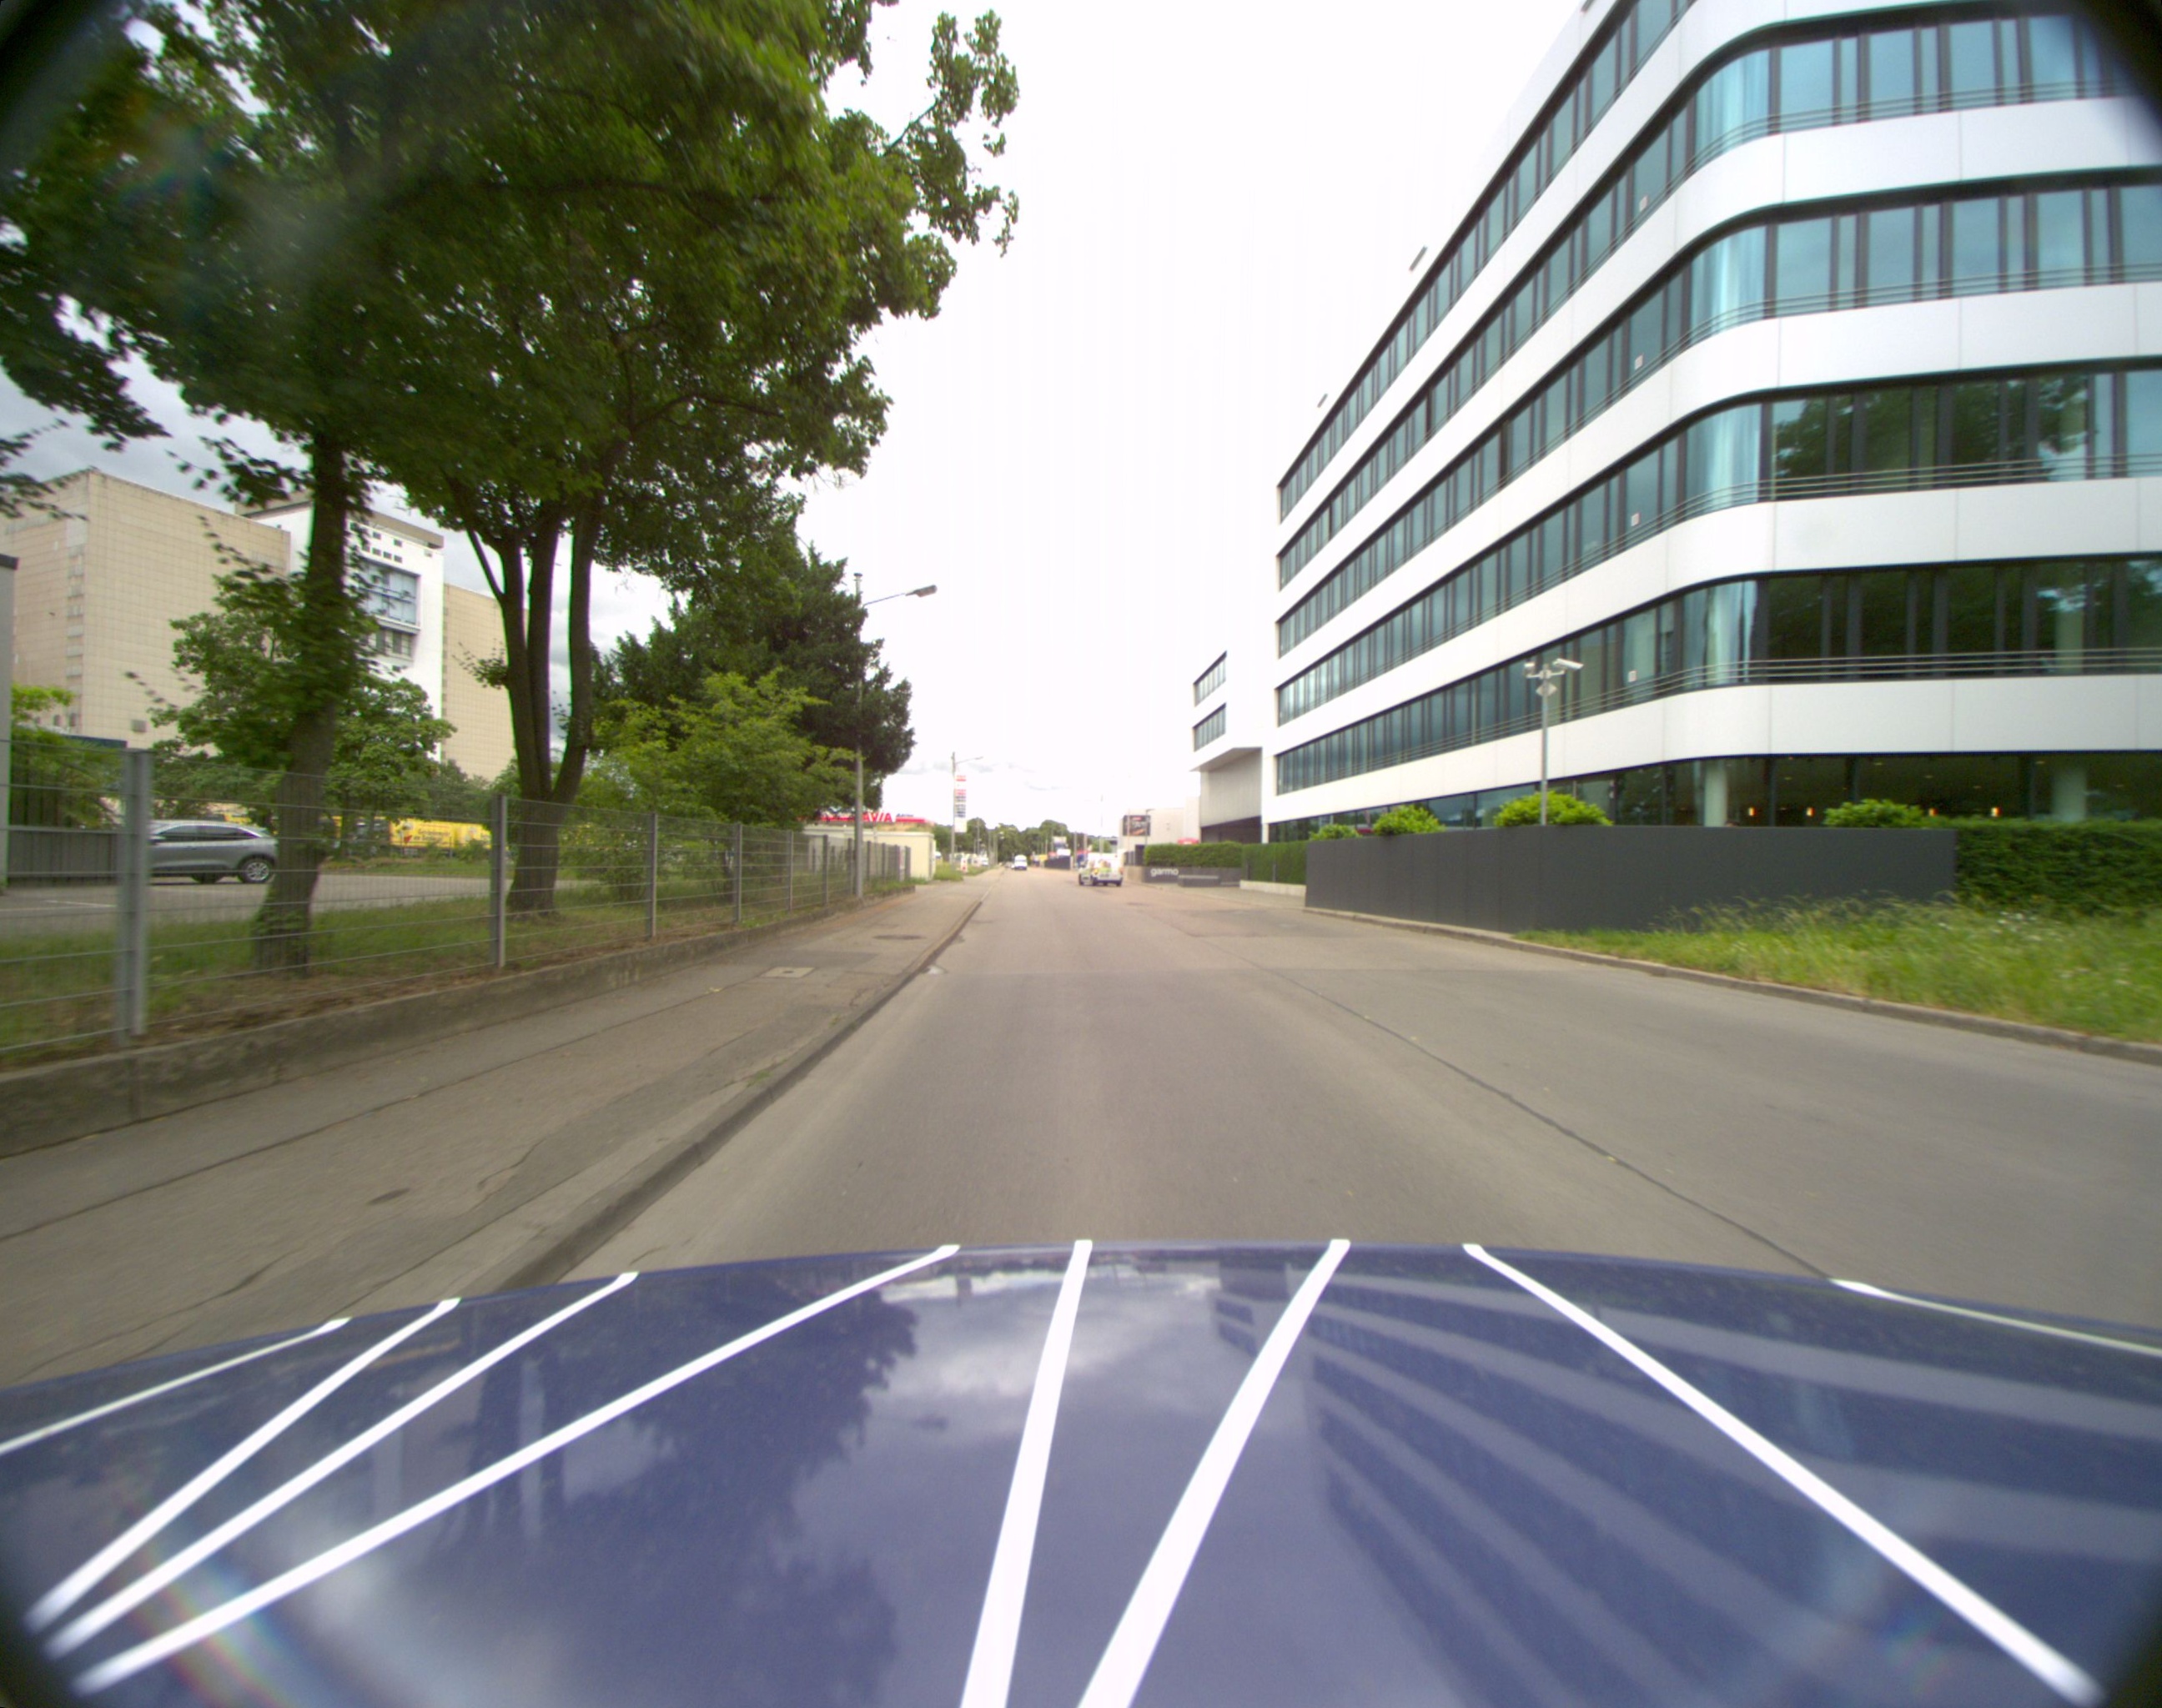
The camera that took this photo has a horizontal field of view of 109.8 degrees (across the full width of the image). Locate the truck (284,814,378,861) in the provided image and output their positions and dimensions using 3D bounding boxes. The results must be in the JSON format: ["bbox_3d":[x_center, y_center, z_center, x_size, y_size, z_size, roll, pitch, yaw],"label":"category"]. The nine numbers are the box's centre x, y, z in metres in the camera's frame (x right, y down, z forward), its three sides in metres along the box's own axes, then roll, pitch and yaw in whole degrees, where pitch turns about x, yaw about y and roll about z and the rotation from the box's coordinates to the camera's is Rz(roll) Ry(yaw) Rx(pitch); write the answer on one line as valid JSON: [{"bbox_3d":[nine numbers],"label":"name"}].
[{"bbox_3d":[-66.273,-1.397,67.314,2.698,3.891,6.038,1,0,-6],"label":"truck"}]

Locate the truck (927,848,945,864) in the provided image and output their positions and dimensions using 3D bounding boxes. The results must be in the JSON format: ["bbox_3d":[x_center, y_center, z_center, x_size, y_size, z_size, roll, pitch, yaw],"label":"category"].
[{"bbox_3d":[-36.552,0.502,191.191,2.879,4.070,6.743,2,-1,-25],"label":"truck"}]

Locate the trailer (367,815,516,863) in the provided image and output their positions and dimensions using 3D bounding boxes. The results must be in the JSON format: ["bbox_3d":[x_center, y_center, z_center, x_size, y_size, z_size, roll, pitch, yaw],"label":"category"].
[{"bbox_3d":[-63.323,-1.261,76.124,3.029,4.235,15.717,1,-1,-6],"label":"trailer"}]

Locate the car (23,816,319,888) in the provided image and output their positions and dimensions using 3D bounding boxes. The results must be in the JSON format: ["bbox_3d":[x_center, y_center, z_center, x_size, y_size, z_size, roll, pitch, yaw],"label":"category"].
[{"bbox_3d":[-23.172,0.002,19.667,1.997,1.602,4.446,2,-1,11],"label":"car"}]

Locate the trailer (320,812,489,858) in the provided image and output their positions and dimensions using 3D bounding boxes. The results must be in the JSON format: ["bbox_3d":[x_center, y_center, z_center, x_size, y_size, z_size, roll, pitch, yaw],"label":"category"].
[{"bbox_3d":[-67.284,-1.638,76.731,2.698,3.891,18.063,1,-1,-6],"label":"trailer"}]

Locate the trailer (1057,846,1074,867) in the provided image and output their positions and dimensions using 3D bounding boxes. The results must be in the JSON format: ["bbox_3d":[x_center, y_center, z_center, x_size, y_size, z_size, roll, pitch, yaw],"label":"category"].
[{"bbox_3d":[-3.322,0.688,161.832,3.368,4.135,13.847,3,-1,-1],"label":"trailer"}]

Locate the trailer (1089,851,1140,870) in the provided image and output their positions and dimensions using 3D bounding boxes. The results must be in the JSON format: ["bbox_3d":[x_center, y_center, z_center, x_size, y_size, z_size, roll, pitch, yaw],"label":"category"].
[{"bbox_3d":[8.173,1.625,184.754,12.024,4.108,3.052,2,0,13],"label":"trailer"}]

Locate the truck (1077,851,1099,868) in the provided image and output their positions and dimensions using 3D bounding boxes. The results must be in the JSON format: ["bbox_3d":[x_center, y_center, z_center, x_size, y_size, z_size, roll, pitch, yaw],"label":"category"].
[{"bbox_3d":[1.729,1.336,185.552,4.880,4.108,3.047,3,0,-4],"label":"truck"}]

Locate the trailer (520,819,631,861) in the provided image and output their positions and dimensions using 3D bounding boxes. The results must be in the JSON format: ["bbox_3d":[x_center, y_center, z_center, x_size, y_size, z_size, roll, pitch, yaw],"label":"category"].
[{"bbox_3d":[-51.140,-1.236,77.651,3.009,3.891,14.295,1,-1,-6],"label":"trailer"}]

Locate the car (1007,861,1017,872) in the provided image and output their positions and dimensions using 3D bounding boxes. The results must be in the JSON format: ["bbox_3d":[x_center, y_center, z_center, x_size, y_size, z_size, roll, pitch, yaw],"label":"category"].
[{"bbox_3d":[-13.566,2.491,148.961,1.714,2.001,3.886,1,-1,-10],"label":"car"}]

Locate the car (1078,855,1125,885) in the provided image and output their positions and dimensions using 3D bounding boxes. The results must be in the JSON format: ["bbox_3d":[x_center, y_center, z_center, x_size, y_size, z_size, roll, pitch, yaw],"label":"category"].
[{"bbox_3d":[1.197,0.944,46.260,1.814,1.754,4.201,-1,0,-13],"label":"car"}]

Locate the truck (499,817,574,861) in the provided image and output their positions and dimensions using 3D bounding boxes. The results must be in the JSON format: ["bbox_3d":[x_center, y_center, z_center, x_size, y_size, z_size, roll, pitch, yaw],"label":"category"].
[{"bbox_3d":[-50.368,-1.297,70.472,2.966,3.891,6.038,1,0,-6],"label":"truck"}]

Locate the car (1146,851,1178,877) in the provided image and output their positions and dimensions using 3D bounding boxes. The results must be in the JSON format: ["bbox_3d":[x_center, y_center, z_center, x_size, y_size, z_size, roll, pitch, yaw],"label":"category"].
[{"bbox_3d":[5.671,0.718,53.476,1.655,1.751,3.178,-1,0,-4],"label":"car"}]

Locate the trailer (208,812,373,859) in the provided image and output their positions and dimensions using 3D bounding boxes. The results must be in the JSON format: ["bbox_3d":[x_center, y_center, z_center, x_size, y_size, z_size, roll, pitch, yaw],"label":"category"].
[{"bbox_3d":[-74.895,-1.561,72.721,2.698,3.891,13.682,1,-1,-6],"label":"trailer"}]

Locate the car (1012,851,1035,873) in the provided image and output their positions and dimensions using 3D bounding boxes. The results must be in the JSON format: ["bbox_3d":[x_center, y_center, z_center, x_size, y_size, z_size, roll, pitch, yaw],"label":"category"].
[{"bbox_3d":[-10.156,1.420,132.493,3.341,3.586,8.664,1,-1,-8],"label":"car"}]

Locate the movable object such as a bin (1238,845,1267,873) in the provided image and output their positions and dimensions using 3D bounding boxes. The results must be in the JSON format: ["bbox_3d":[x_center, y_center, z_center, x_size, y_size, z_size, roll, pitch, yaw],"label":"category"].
[{"bbox_3d":[14.187,0.386,62.686,2.149,2.209,1.755,1,0,18],"label":"movable object such as a bin"}]

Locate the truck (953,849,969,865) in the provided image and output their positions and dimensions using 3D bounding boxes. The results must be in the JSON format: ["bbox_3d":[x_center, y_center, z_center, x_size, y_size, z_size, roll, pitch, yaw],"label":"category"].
[{"bbox_3d":[-31.766,0.734,200.907,2.878,3.989,6.745,2,-1,-20],"label":"truck"}]

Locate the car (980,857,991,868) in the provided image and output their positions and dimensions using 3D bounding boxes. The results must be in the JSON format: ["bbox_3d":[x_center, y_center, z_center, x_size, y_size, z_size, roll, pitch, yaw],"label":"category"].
[{"bbox_3d":[-22.137,1.980,175.611,2.092,2.401,6.082,1,-1,-4],"label":"car"}]

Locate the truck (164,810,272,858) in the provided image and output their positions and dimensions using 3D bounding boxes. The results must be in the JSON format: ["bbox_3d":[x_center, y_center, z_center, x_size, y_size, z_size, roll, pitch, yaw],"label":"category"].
[{"bbox_3d":[-74.122,-1.611,65.427,2.698,3.891,6.038,1,0,-6],"label":"truck"}]

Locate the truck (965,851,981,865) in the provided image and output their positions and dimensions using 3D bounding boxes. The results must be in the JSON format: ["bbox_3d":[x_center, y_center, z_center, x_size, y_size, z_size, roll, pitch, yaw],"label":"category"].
[{"bbox_3d":[-29.201,1.032,205.349,2.878,3.608,6.745,2,-1,-20],"label":"truck"}]

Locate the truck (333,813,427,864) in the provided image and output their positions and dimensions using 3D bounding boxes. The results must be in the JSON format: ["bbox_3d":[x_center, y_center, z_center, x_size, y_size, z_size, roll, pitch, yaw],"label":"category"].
[{"bbox_3d":[-62.475,-1.297,67.909,3.053,4.237,6.038,1,0,-6],"label":"truck"}]

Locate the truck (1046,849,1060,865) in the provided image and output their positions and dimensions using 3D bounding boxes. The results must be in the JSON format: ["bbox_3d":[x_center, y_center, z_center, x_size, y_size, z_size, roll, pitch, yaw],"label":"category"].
[{"bbox_3d":[-7.108,0.807,190.363,3.023,3.826,5.668,3,-1,-5],"label":"truck"}]

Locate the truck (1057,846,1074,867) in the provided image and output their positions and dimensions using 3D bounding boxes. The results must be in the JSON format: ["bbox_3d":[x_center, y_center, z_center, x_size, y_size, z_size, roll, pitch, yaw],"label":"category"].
[{"bbox_3d":[-3.153,0.587,154.749,3.368,4.135,5.627,3,-1,-1],"label":"truck"}]

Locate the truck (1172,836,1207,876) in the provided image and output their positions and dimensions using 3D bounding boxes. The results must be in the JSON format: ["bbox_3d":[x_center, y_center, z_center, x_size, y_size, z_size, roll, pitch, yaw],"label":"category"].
[{"bbox_3d":[11.373,0.258,79.041,2.746,4.006,7.102,0,-1,16],"label":"truck"}]
